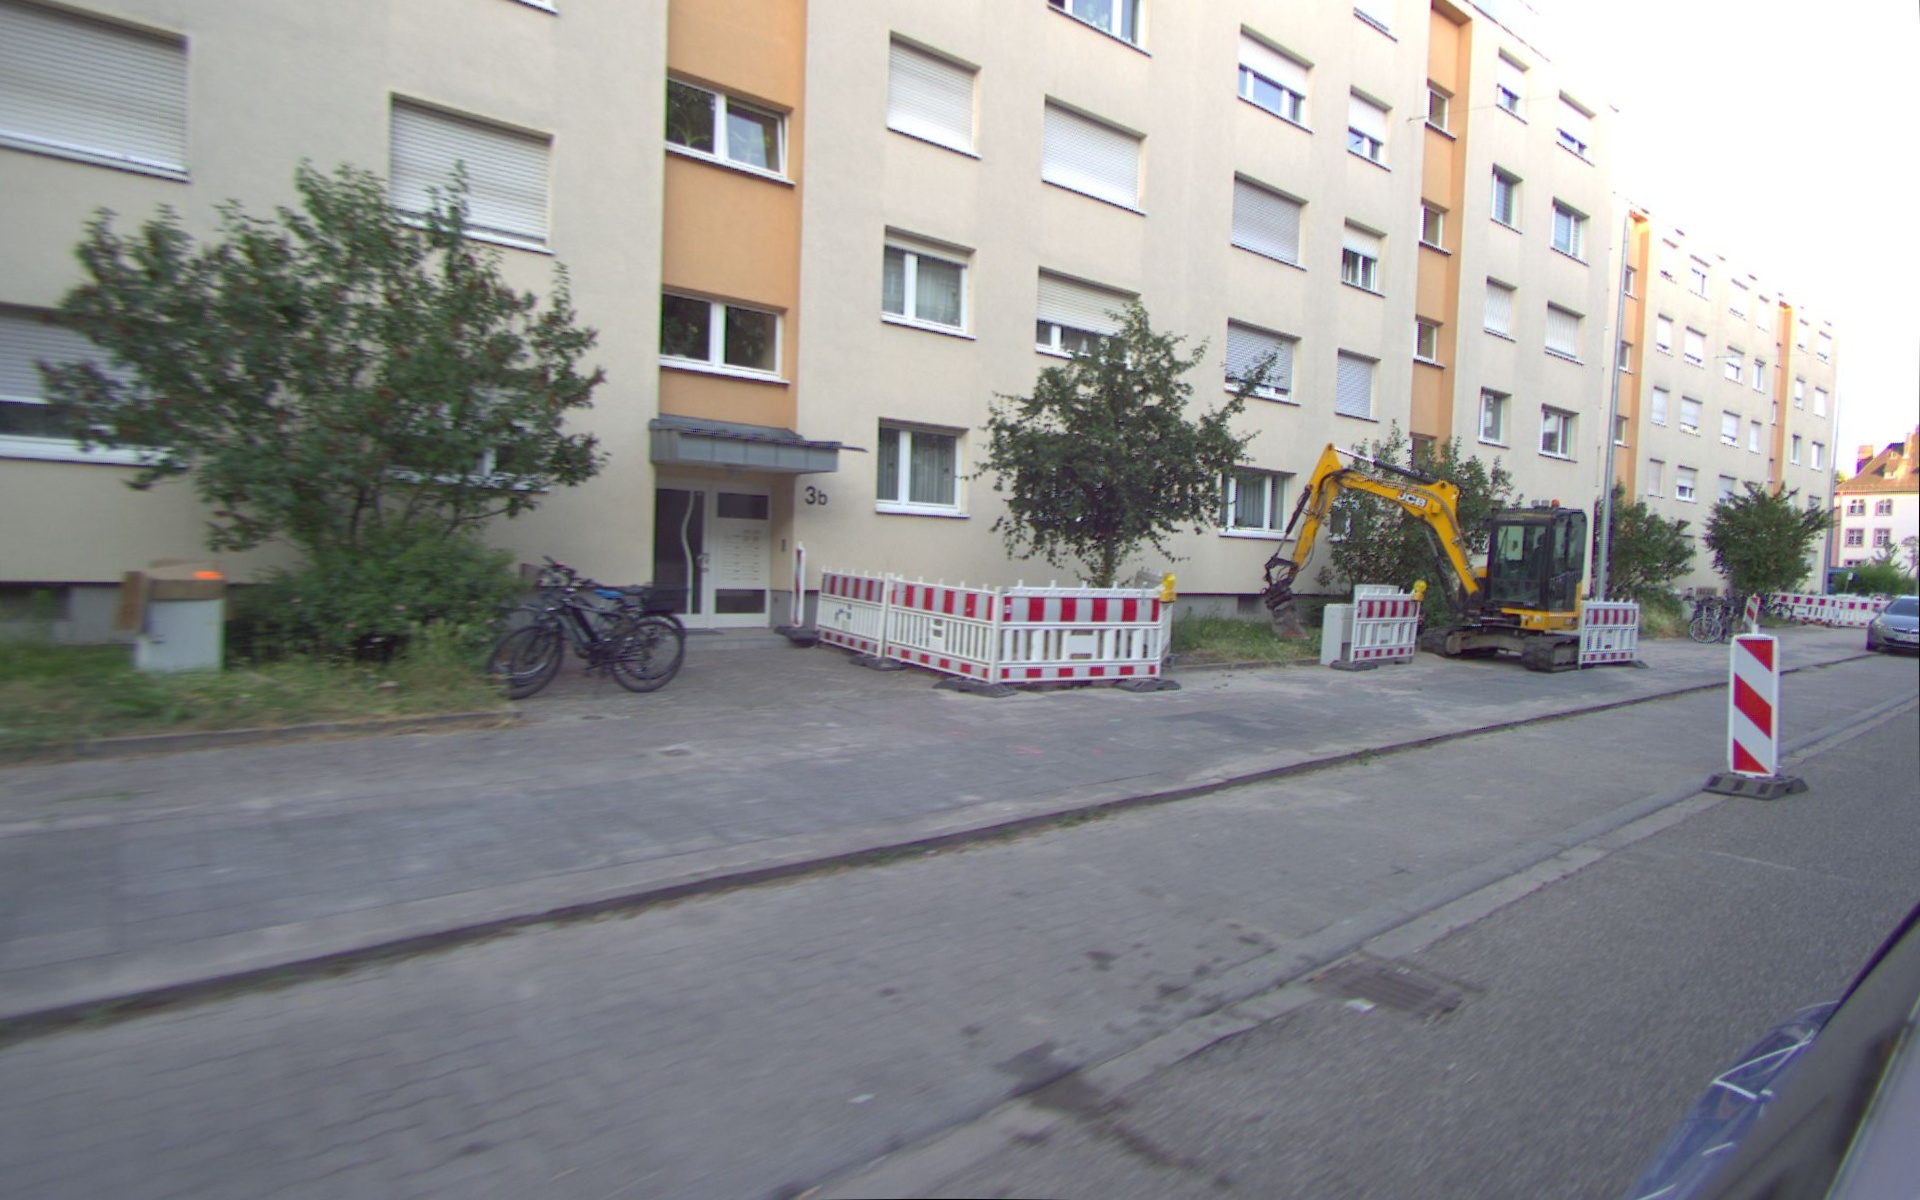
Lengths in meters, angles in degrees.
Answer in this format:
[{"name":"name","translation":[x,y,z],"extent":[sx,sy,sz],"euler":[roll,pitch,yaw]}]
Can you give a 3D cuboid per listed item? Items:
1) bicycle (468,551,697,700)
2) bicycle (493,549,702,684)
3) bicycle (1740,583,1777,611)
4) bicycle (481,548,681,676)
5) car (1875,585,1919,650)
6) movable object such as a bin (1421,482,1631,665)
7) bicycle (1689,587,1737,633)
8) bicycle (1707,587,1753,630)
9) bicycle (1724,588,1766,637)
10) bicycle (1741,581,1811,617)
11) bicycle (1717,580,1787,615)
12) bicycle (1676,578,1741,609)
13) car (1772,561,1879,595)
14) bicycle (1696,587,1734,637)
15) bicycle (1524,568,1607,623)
[{"name":"bicycle","translation":[-3.271,0.190,8.861],"extent":[1.783,1.186,0.557],"euler":[0,2,-38]},{"name":"bicycle","translation":[-3.436,0.130,9.677],"extent":[1.783,1.186,0.557],"euler":[0,2,-38]},{"name":"bicycle","translation":[30.056,-0.108,38.129],"extent":[0.551,0.874,1.604],"euler":[7,7,21]},{"name":"bicycle","translation":[-3.780,0.100,10.174],"extent":[1.783,1.186,0.557],"euler":[0,2,-38]},{"name":"car","translation":[25.485,0.472,26.289],"extent":[4.491,1.508,1.782],"euler":[0,7,-39]},{"name":"movable object such as a bin","translation":[9.372,-0.443,16.764],"extent":[2.837,2.726,1.940],"euler":[0,2,-36]},{"name":"bicycle","translation":[20.485,0.254,27.529],"extent":[1.783,1.186,0.557],"euler":[0,2,-38]},{"name":"bicycle","translation":[21.979,0.231,28.880],"extent":[1.783,1.186,0.557],"euler":[0,2,-38]},{"name":"bicycle","translation":[19.977,0.296,25.788],"extent":[0.553,1.186,1.798],"euler":[2,2,30]},{"name":"bicycle","translation":[29.586,-0.053,36.710],"extent":[0.548,1.034,1.818],"euler":[-1,8,-39]},{"name":"bicycle","translation":[28.057,-0.084,35.885],"extent":[0.547,0.998,1.763],"euler":[0,8,-31]},{"name":"bicycle","translation":[27.819,-0.234,37.643],"extent":[1.788,0.931,0.557],"euler":[5,6,9]},{"name":"car","translation":[59.080,-1.522,69.162],"extent":[2.245,2.155,5.042],"euler":[0,3,-32]},{"name":"bicycle","translation":[19.273,0.288,25.867],"extent":[0.624,1.186,1.795],"euler":[2,2,33]},{"name":"bicycle","translation":[14.327,-0.130,23.983],"extent":[1.593,1.237,0.477],"euler":[3,2,44]}]
